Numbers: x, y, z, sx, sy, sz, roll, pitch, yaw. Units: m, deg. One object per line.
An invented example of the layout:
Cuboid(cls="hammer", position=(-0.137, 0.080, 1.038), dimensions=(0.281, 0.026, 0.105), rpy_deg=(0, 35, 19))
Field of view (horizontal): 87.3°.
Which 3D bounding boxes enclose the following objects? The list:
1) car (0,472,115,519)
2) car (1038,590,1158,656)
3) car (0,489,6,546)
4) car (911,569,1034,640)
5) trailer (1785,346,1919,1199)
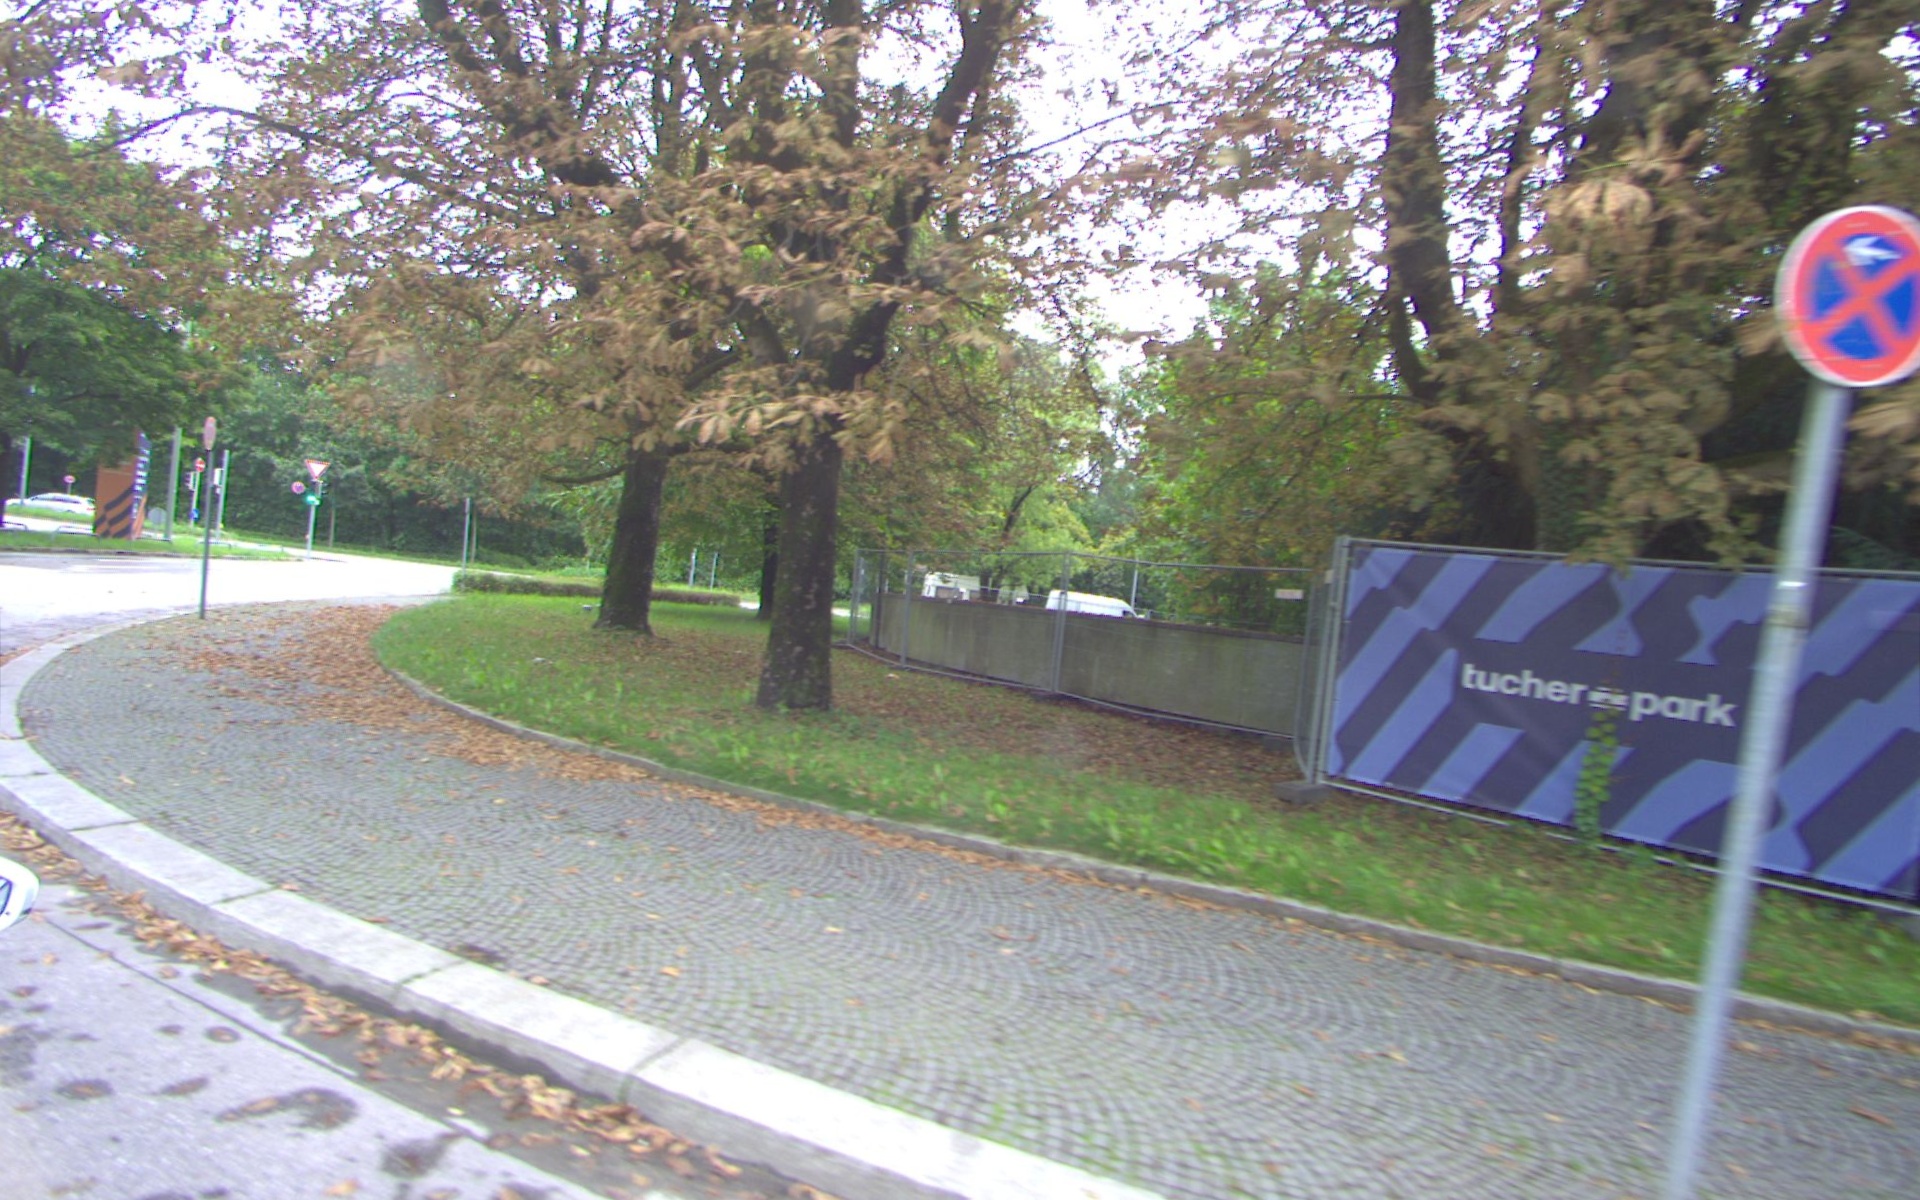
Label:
Cuboid(cls="car", position=(-48.708, -5.607, 54.366), dimensions=(4.054, 1.771, 1.997), rpy_deg=(7, 0, -9))
Cuboid(cls="car", position=(6.867, 1.115, 50.407), dimensions=(5.365, 2.612, 2.073), rpy_deg=(7, 0, -9))
Cuboid(cls="car", position=(-11.953, -0.640, 9.963), dimensions=(1.868, 1.564, 4.829), rpy_deg=(7, -1, -22))
Cuboid(cls="car", position=(0.587, 0.213, 49.148), dimensions=(5.501, 2.768, 2.073), rpy_deg=(7, 0, -9))
Cuboid(cls="trailer", position=(3.543, 0.754, 0.239), dimensions=(4.745, 2.039, 1.814), rpy_deg=(6, 0, 21))
